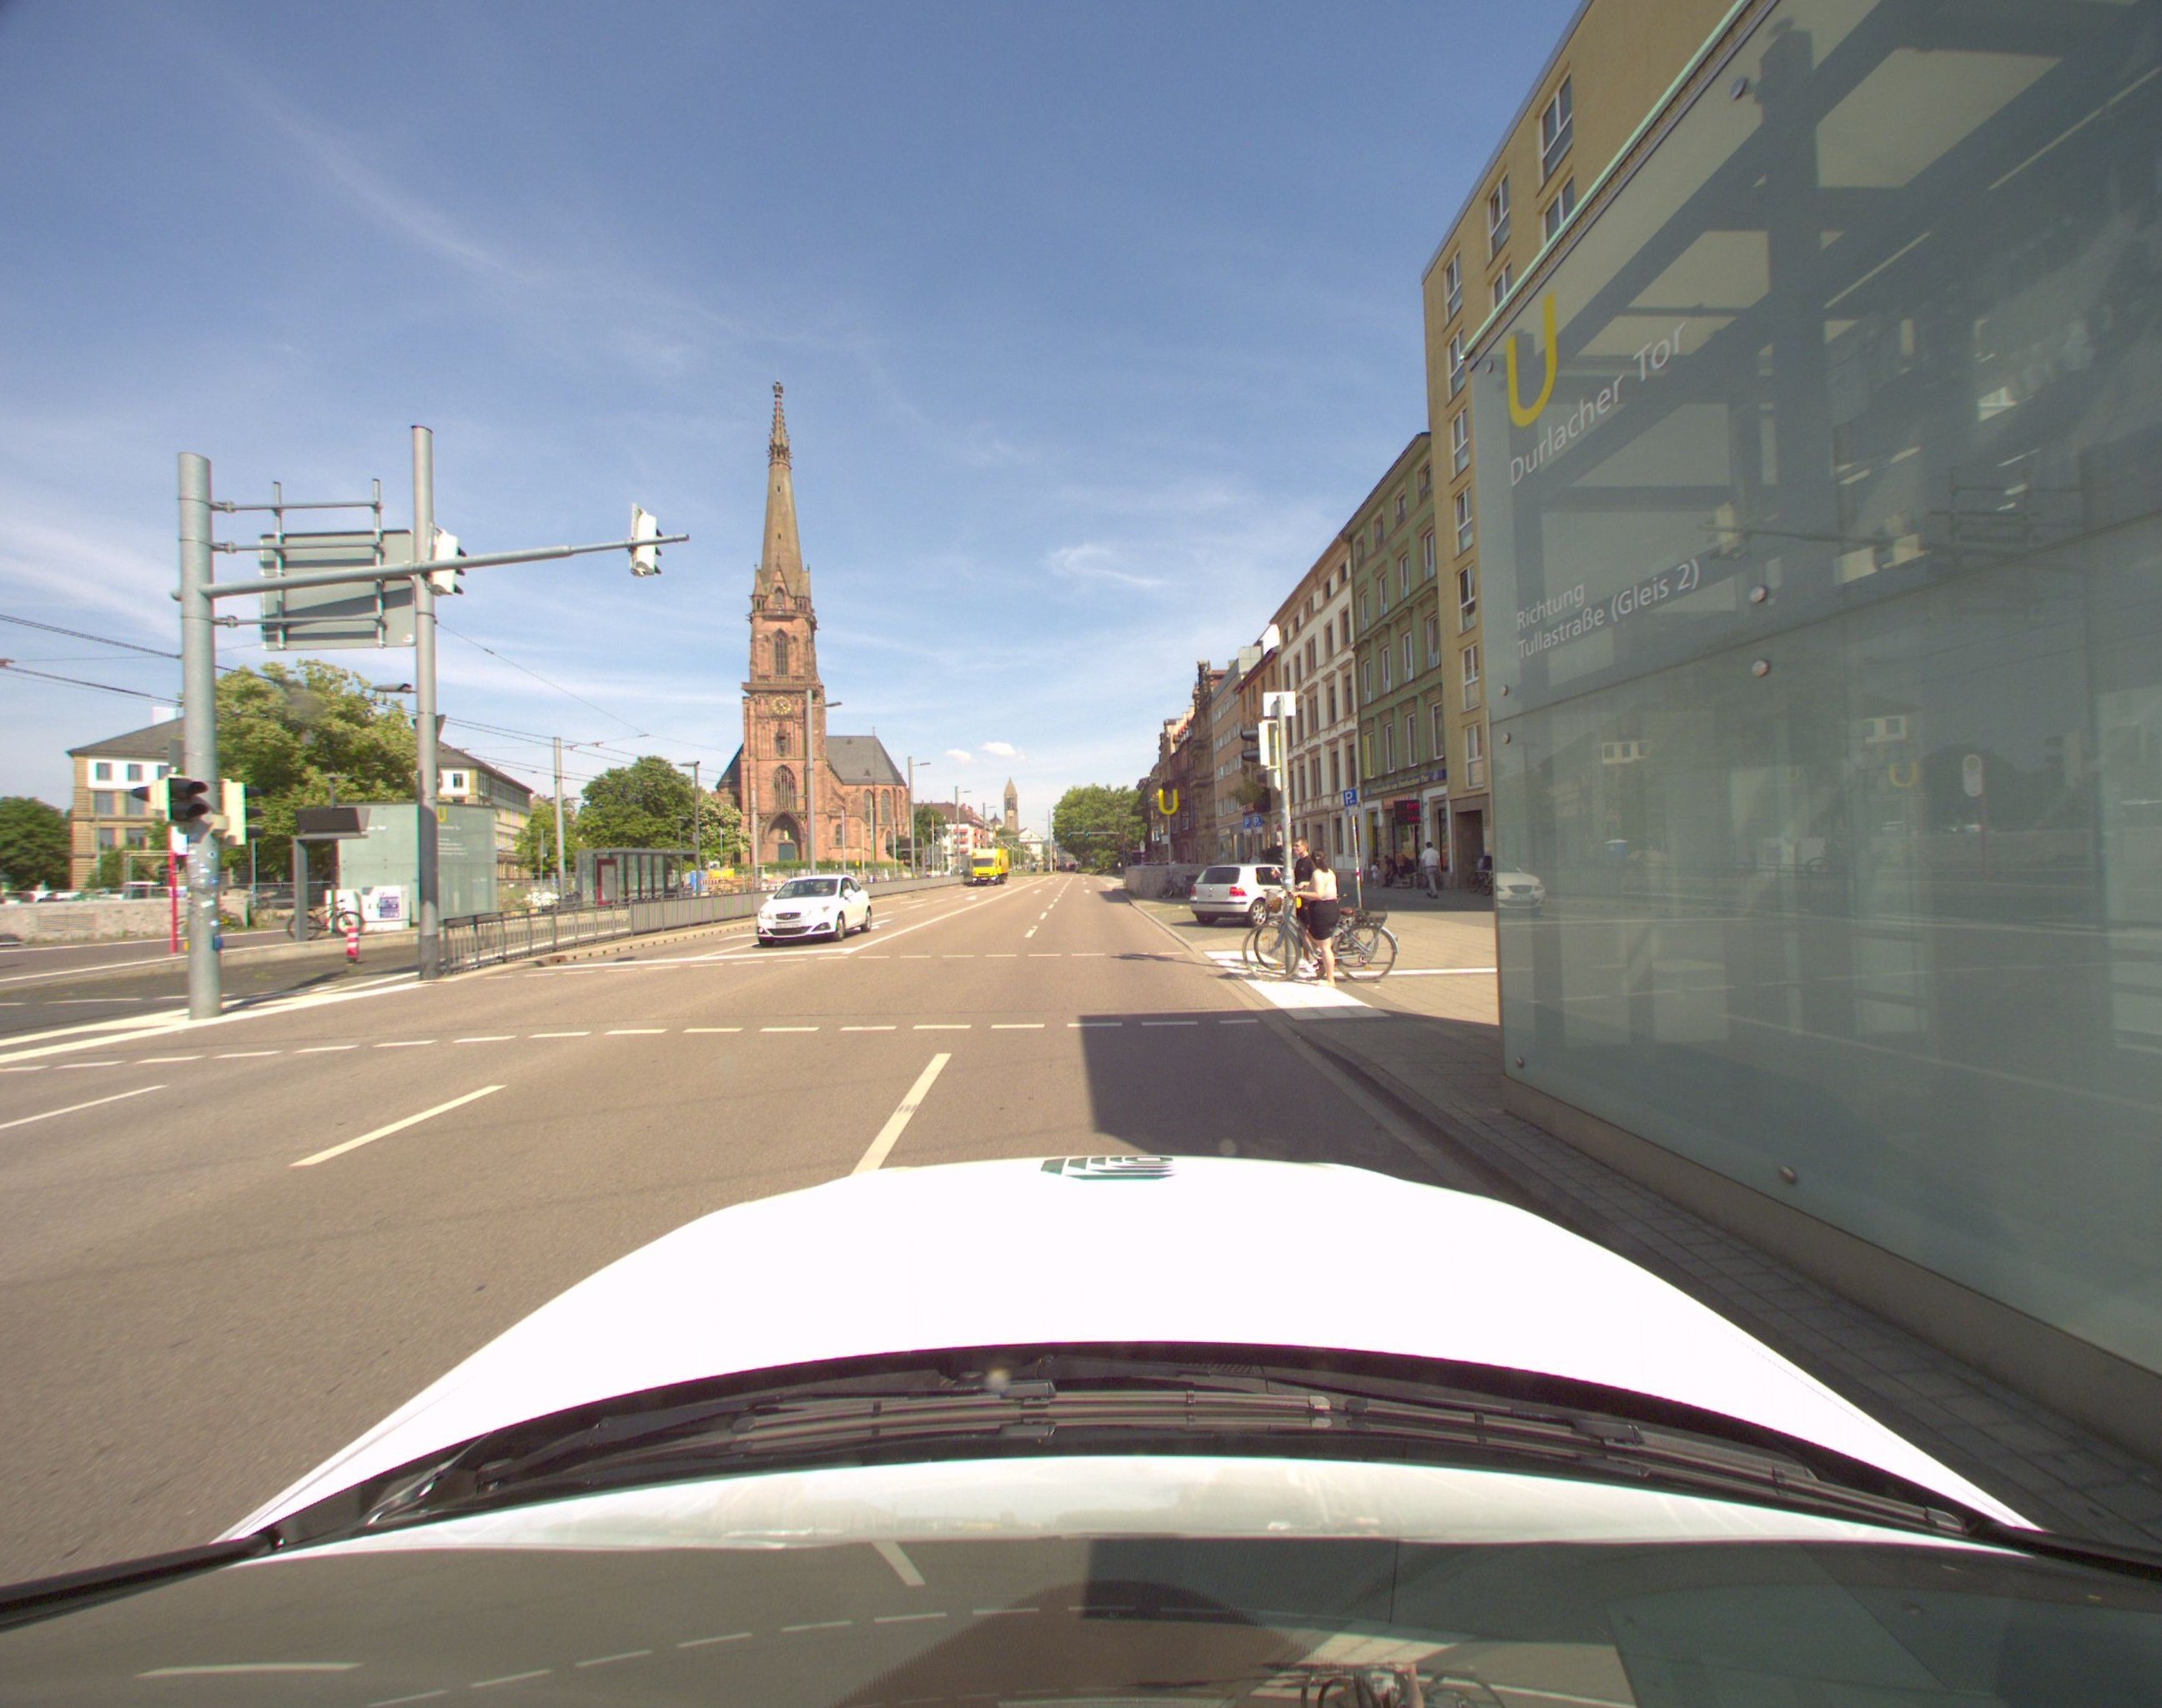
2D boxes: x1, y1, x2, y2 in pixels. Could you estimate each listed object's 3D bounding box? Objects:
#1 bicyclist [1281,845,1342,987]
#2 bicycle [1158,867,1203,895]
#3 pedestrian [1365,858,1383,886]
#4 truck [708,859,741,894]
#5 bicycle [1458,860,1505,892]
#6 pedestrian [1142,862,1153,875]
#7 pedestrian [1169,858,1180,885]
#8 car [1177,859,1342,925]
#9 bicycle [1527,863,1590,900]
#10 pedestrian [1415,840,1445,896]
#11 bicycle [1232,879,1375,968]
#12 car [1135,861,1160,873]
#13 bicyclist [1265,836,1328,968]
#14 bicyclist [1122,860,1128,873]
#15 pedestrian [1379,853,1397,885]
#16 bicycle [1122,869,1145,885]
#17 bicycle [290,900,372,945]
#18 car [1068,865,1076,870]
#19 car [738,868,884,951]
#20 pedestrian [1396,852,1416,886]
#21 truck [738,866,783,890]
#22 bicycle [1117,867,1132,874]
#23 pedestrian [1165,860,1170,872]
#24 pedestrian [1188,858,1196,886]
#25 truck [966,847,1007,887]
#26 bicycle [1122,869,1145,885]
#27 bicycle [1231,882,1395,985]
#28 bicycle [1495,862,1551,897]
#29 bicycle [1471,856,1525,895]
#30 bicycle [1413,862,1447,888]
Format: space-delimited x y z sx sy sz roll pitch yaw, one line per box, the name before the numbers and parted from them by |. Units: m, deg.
bicyclist | 2.683 0.701 9.454 0.606 1.572 0.736 -2 -1 17
bicycle | 4.062 1.099 33.374 1.737 1.094 0.597 -2 0 -1
pedestrian | 12.394 0.767 34.435 0.523 1.168 0.530 -2 -1 -1
truck | -38.278 2.398 87.587 3.032 3.569 5.996 -2 -1 -23
bicycle | 13.191 0.714 26.887 0.580 0.964 1.779 -5 -1 -1
pedestrian | 6.612 1.430 80.714 0.945 1.325 0.822 -2 -1 -3
pedestrian | 5.743 1.061 49.905 0.551 1.665 0.525 -2 -1 0
car | 4.342 0.852 19.586 4.020 1.440 1.792 1 -1 -40
bicycle | 12.711 0.714 21.753 0.580 0.916 1.756 -3 -1 -1
pedestrian | 11.215 0.455 26.171 0.607 1.745 0.703 -2 -1 0
bicycle | 3.047 0.940 11.221 1.789 1.130 0.582 -1 -1 -7
car | 10.838 2.119 132.907 3.972 1.749 2.001 -2 2 1
bicyclist | 2.924 0.639 11.087 0.615 1.735 0.582 -1 -1 -7
bicyclist | 5.775 1.594 105.847 0.640 1.591 0.481 -2 1 -16
pedestrian | 13.244 0.658 35.156 0.523 1.354 0.530 -2 -1 -1
bicycle | 3.417 1.491 52.998 1.456 0.976 0.415 -2 1 -1
bicycle | -21.255 1.926 23.122 0.409 1.070 1.672 -3 1 18
car | -2.316 3.600 216.922 1.895 1.376 3.811 -2 -1 -3
car | -5.797 1.119 18.040 1.749 1.398 4.123 -6 0 0
pedestrian | 13.455 0.632 33.715 0.523 1.374 0.646 -2 -1 0
truck | -38.762 2.849 98.493 4.379 2.678 2.388 -2 -1 4
bicycle | 5.622 2.179 105.811 1.822 0.863 0.481 -2 1 -16
pedestrian | 11.116 1.530 104.352 0.532 1.407 0.490 -2 1 -7
pedestrian | 6.769 1.095 49.755 0.370 1.665 0.525 -2 -1 0
truck | -8.636 1.235 75.466 2.536 3.298 9.024 -4 -1 -1
bicycle | 3.424 1.508 53.445 1.456 0.947 0.415 -2 -2 -1
bicycle | 2.753 0.925 9.722 1.777 1.130 0.758 -2 -1 17
bicycle | 12.807 0.716 23.660 0.580 0.927 1.756 -5 -1 -1
bicycle | 12.745 0.650 24.942 0.580 1.094 1.819 -5 -1 -1
bicycle | 13.262 0.791 31.011 0.411 0.964 1.779 -5 -1 -1
